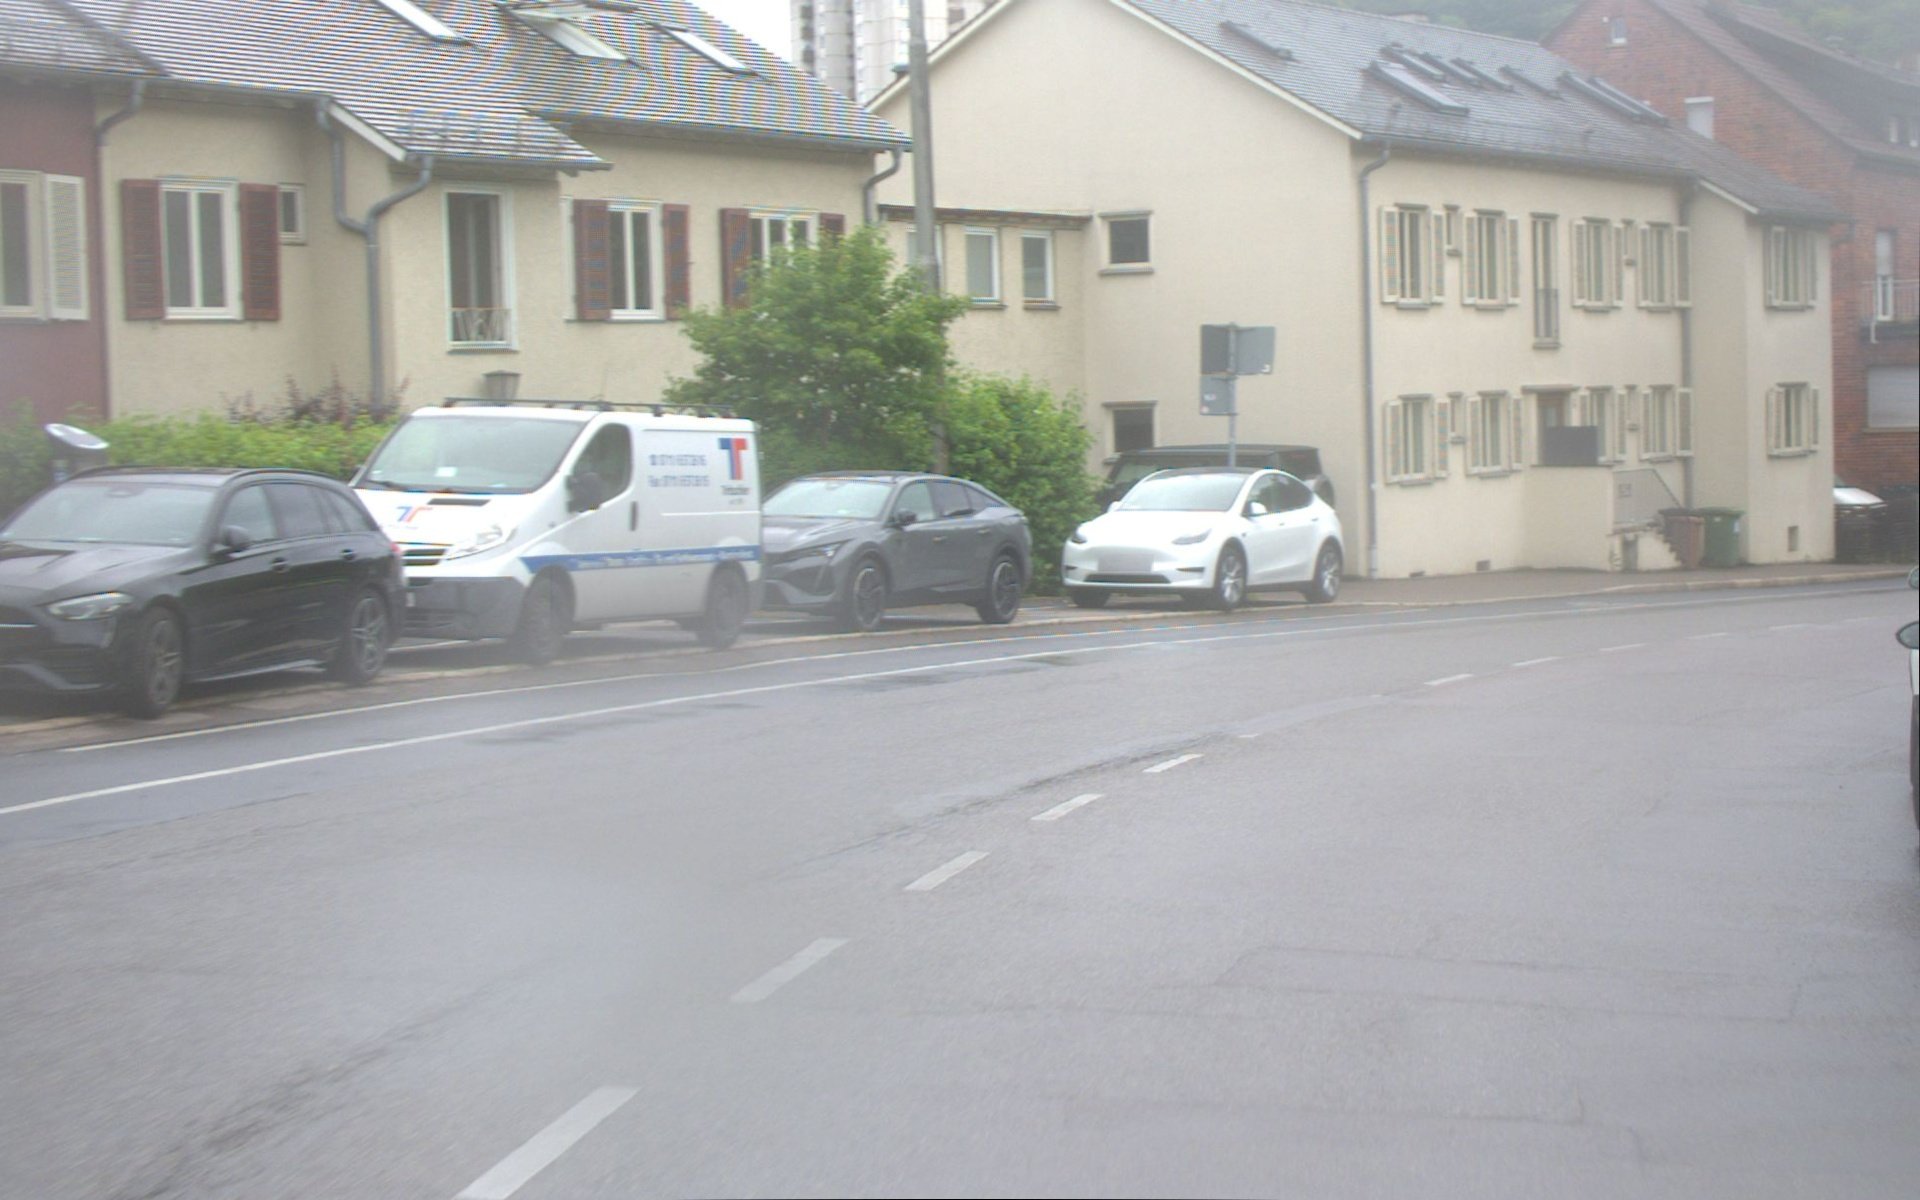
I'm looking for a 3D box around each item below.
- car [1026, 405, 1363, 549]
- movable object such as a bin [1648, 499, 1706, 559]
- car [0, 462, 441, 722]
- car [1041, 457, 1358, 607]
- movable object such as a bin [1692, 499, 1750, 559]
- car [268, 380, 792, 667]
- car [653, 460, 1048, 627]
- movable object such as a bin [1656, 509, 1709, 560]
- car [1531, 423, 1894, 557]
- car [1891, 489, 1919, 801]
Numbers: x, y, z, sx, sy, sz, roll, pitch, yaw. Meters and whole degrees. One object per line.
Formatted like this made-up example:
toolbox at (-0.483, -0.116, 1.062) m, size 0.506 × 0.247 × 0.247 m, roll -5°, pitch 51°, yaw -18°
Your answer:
car at (3.388, -1.784, 49.818) m, size 4.495 × 2.006 × 1.885 m, roll 1°, pitch 3°, yaw 29°
movable object such as a bin at (12.581, -1.248, 60.305) m, size 0.783 × 1.043 × 0.707 m, roll 2°, pitch 2°, yaw 32°
car at (-5.143, -0.129, 21.948) m, size 1.809 × 1.471 × 4.519 m, roll 1°, pitch 2°, yaw 17°
car at (2.864, -0.818, 40.114) m, size 1.932 × 1.625 × 4.670 m, roll 2°, pitch 2°, yaw 28°
movable object such as a bin at (13.441, -1.252, 60.736) m, size 0.783 × 1.043 × 0.737 m, roll 2°, pitch 2°, yaw 32°
car at (-3.286, -0.639, 27.462) m, size 1.850 × 2.071 × 5.015 m, roll 1°, pitch 2°, yaw 23°
car at (-0.959, -0.573, 32.906) m, size 1.811 × 1.471 × 4.516 m, roll 2°, pitch 2°, yaw 27°
movable object such as a bin at (12.463, -1.131, 59.293) m, size 0.674 × 0.856 × 0.707 m, roll 2°, pitch 2°, yaw 32°
car at (14.908, -2.177, 68.342) m, size 6.667 × 2.545 × 2.164 m, roll 1°, pitch 1°, yaw 33°
car at (6.433, 0.181, 19.789) m, size 1.805 × 1.643 × 4.206 m, roll 1°, pitch 2°, yaw 19°
